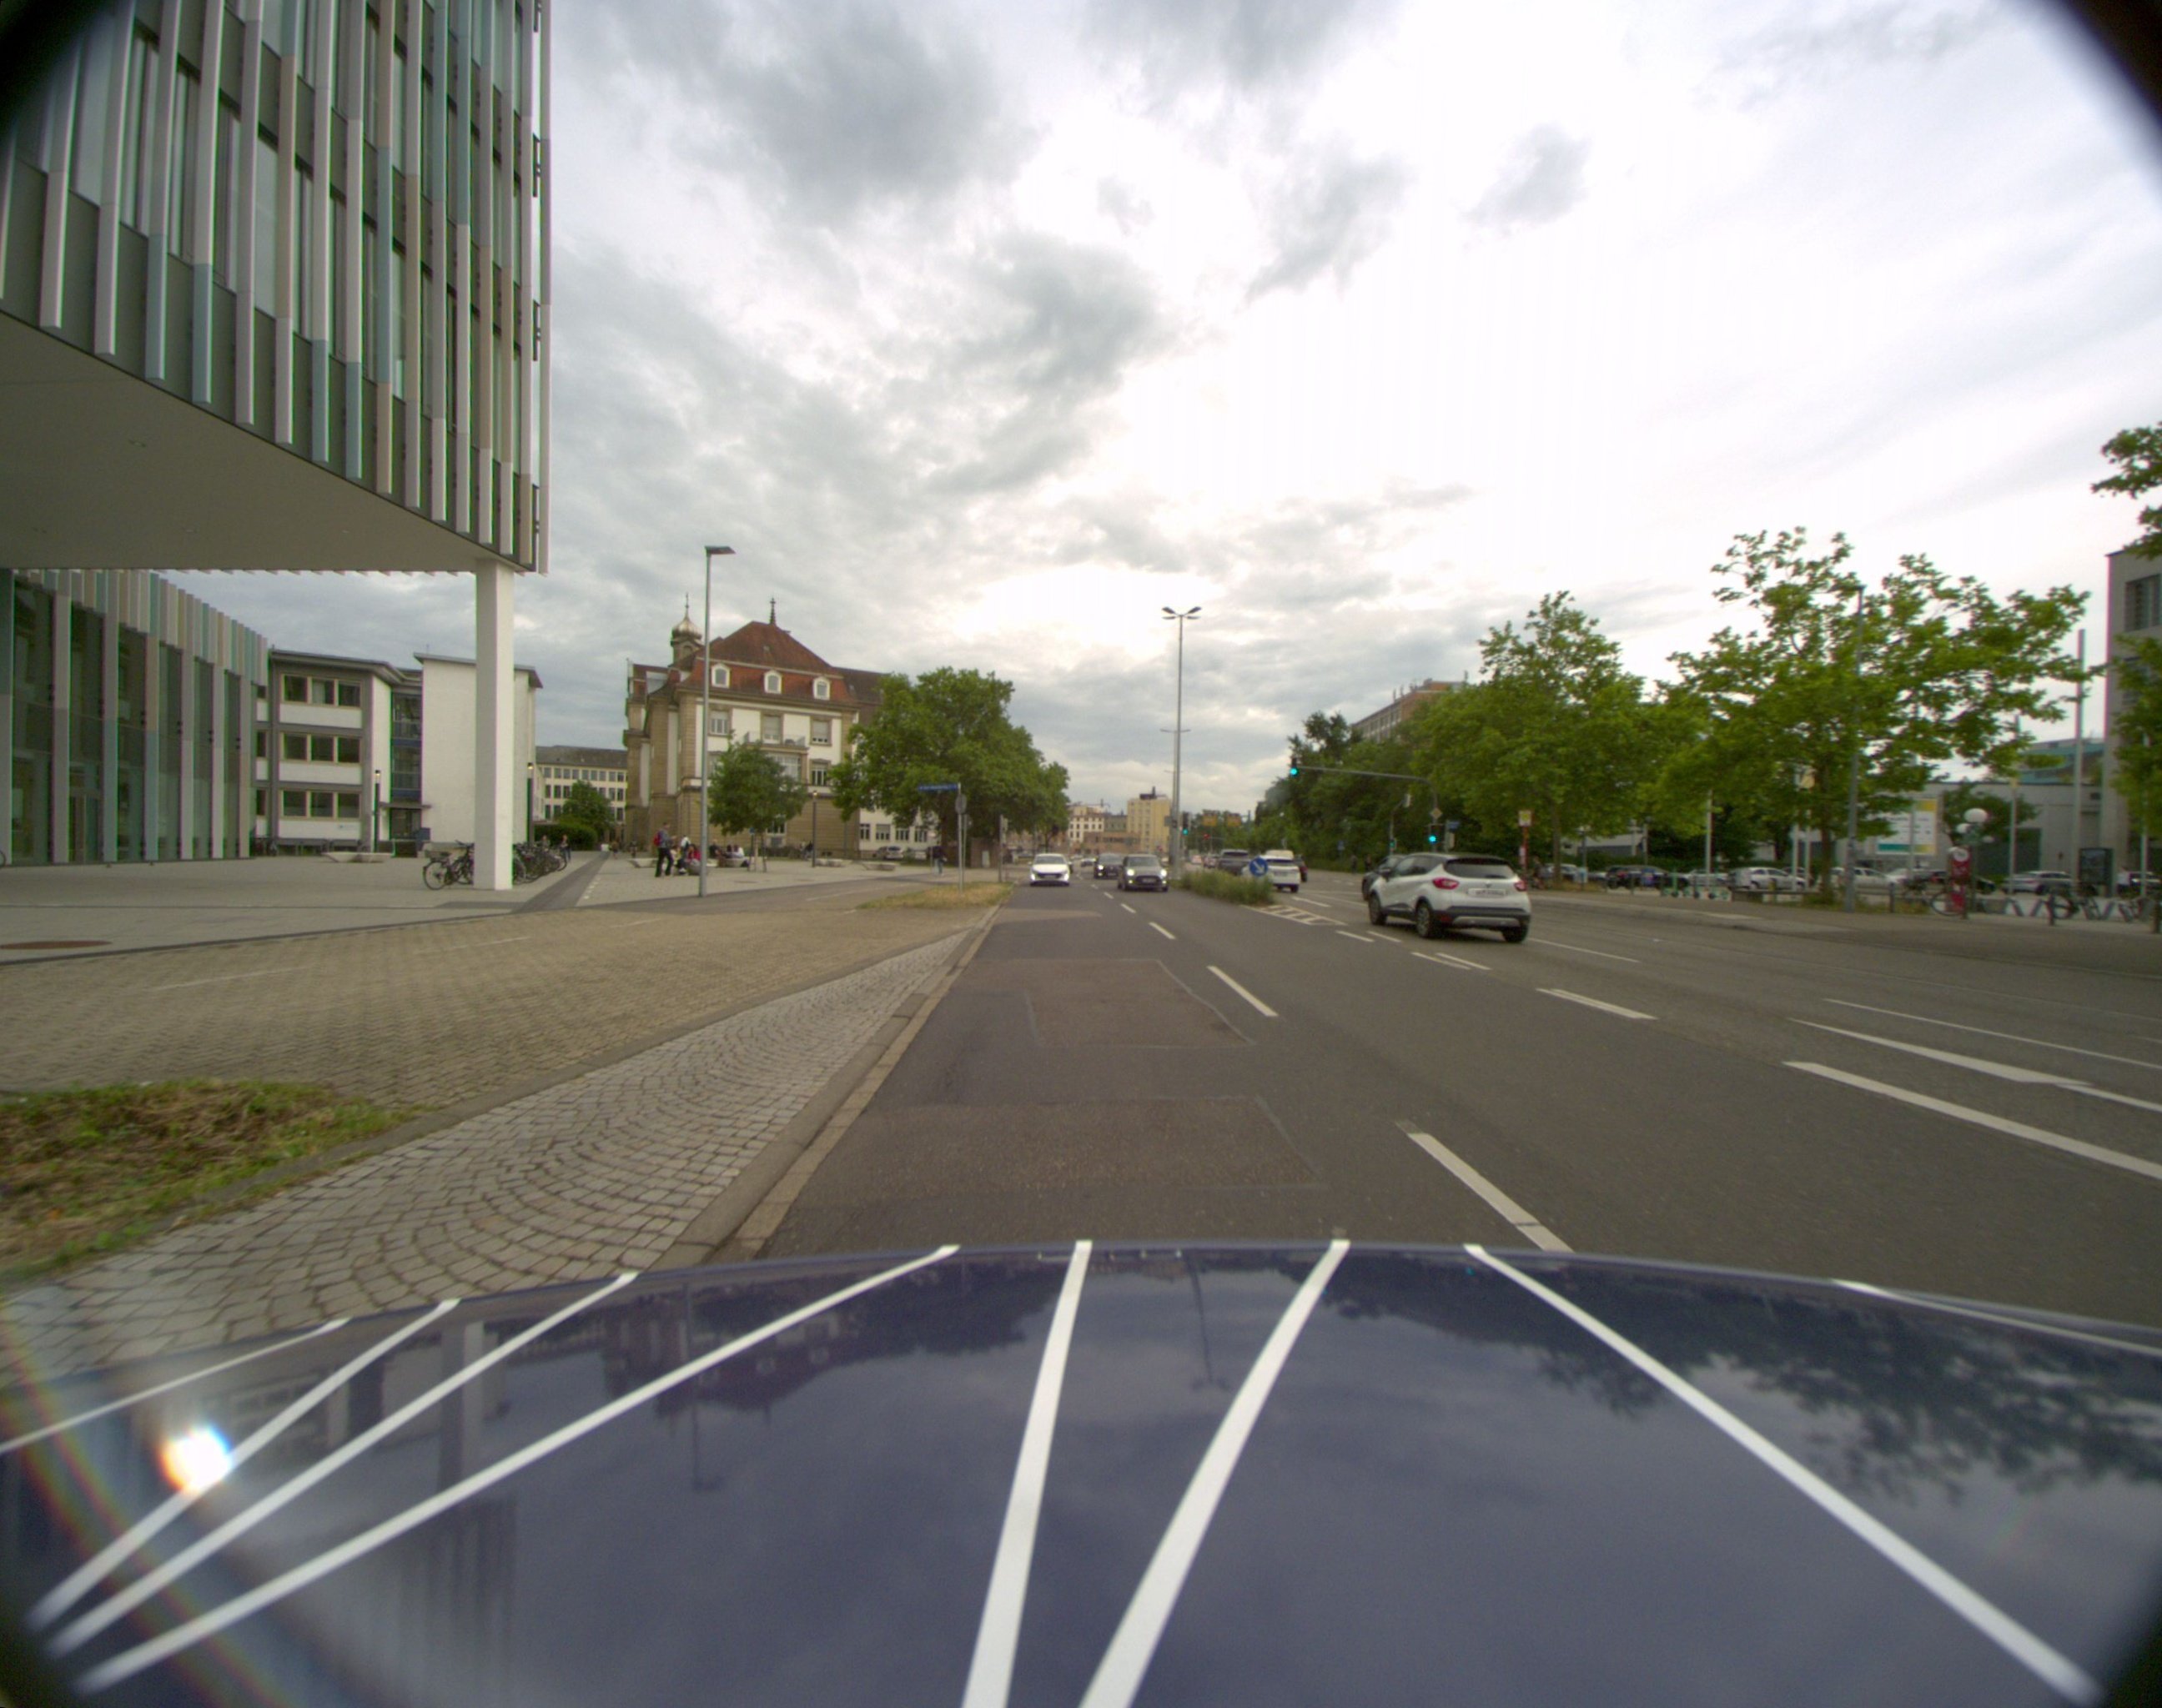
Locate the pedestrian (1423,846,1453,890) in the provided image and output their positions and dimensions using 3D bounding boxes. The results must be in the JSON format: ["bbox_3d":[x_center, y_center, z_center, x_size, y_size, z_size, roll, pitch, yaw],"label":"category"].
[{"bbox_3d":[16.931,0.650,36.092,0.896,2.002,1.009,1,1,1],"label":"pedestrian"}]

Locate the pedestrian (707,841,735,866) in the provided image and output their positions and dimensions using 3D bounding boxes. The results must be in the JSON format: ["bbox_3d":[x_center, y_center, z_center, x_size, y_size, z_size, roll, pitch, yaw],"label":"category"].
[{"bbox_3d":[-18.254,-0.046,38.550,0.911,1.250,0.879,-1,1,6],"label":"pedestrian"}]

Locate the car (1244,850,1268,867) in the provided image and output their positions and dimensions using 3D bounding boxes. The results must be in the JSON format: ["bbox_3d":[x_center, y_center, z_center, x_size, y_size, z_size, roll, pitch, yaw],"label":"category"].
[{"bbox_3d":[17.098,0.406,74.574,1.997,1.610,4.003,1,1,9],"label":"car"}]

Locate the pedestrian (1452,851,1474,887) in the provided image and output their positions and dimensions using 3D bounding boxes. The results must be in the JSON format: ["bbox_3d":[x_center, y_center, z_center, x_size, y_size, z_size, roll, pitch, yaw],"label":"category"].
[{"bbox_3d":[21.824,0.853,43.384,0.669,2.046,0.852,2,0,-13],"label":"pedestrian"}]

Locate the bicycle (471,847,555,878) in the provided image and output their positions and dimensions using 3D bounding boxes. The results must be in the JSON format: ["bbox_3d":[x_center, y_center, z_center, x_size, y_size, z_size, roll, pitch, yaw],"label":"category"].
[{"bbox_3d":[-19.329,0.293,25.919,2.195,1.000,0.780,1,1,-27],"label":"bicycle"}]

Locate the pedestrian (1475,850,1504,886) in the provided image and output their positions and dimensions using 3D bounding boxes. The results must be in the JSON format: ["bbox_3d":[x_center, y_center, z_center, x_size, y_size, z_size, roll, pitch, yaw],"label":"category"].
[{"bbox_3d":[21.266,0.713,39.542,0.897,1.793,0.935,2,1,-1],"label":"pedestrian"}]

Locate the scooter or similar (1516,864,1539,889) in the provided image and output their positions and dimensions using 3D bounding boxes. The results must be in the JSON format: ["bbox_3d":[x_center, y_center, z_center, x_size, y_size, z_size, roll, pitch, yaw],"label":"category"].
[{"bbox_3d":[21.342,1.064,36.338,0.361,1.133,1.320,2,1,3],"label":"scooter or similar"}]

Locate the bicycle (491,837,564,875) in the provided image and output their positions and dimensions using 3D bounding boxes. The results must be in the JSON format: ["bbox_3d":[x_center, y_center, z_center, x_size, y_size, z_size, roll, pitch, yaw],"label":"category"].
[{"bbox_3d":[-20.189,0.094,27.741,2.010,1.298,0.644,3,-1,-19],"label":"bicycle"}]

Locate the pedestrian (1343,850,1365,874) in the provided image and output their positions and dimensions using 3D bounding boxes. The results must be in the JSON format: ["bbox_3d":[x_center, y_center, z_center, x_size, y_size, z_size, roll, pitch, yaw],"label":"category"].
[{"bbox_3d":[23.365,0.667,65.047,1.185,2.002,1.350,-1,1,-17],"label":"pedestrian"}]

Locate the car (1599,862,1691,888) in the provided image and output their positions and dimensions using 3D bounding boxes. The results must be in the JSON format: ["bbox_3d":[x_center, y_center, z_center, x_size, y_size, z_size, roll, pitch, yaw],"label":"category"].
[{"bbox_3d":[33.456,1.217,45.178,3.997,1.463,2.000,-1,1,-1],"label":"car"}]

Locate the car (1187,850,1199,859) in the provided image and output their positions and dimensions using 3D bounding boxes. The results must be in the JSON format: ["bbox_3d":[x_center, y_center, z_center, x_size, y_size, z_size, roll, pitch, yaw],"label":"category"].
[{"bbox_3d":[20.953,0.072,142.151,1.892,1.763,4.001,-1,1,6],"label":"car"}]

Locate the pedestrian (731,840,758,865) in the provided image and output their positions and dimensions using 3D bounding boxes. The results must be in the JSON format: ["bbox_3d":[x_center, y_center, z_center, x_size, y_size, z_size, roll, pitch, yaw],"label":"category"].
[{"bbox_3d":[-17.090,-0.059,38.616,0.911,1.250,0.879,-1,1,6],"label":"pedestrian"}]

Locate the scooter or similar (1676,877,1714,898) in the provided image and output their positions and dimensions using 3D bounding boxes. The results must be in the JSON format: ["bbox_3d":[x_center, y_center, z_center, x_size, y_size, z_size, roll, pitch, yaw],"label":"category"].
[{"bbox_3d":[21.909,1.186,27.130,0.407,0.689,1.289,-1,0,5],"label":"scooter or similar"}]

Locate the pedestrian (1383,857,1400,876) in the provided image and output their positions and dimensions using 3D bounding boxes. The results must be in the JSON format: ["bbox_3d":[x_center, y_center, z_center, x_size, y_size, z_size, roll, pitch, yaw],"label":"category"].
[{"bbox_3d":[23.898,0.978,58.476,0.701,1.420,0.998,-1,1,-25],"label":"pedestrian"}]

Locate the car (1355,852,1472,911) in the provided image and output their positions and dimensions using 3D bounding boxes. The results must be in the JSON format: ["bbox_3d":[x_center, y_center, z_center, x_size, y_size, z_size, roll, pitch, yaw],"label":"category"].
[{"bbox_3d":[10.790,0.810,25.038,1.998,1.684,4.468,2,1,3],"label":"car"}]

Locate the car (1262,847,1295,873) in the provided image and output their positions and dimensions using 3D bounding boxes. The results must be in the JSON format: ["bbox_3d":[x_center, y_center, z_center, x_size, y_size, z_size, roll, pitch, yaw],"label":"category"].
[{"bbox_3d":[14.298,0.409,55.218,1.775,1.837,4.491,-1,0,7],"label":"car"}]

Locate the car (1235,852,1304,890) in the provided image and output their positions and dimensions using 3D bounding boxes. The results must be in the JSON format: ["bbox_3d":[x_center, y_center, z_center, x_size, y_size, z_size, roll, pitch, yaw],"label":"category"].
[{"bbox_3d":[7.910,0.651,32.268,1.908,1.457,4.911,-1,0,3],"label":"car"}]

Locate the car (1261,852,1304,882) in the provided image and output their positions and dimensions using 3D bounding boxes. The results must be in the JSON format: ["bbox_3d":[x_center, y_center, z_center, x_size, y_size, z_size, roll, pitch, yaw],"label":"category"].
[{"bbox_3d":[12.374,0.748,46.833,1.702,1.680,4.000,2,1,3],"label":"car"}]

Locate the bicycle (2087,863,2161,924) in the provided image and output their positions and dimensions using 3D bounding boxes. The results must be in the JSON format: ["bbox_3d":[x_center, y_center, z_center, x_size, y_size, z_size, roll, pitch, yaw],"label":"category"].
[{"bbox_3d":[28.227,1.047,20.136,2.199,1.550,0.899,1,1,-8],"label":"bicycle"}]

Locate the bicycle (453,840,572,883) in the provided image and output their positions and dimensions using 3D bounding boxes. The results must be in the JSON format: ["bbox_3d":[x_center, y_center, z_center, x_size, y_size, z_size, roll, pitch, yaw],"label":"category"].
[{"bbox_3d":[-16.417,0.228,22.012,2.726,1.181,0.772,1,1,-39],"label":"bicycle"}]

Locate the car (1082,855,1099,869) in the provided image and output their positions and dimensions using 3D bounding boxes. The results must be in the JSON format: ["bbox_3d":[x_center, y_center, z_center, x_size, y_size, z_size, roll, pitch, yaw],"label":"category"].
[{"bbox_3d":[1.076,0.902,83.334,1.605,1.360,3.579,0,2,5],"label":"car"}]

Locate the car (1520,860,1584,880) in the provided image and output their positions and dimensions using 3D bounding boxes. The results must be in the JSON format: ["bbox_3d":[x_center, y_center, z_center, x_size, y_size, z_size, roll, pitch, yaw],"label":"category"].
[{"bbox_3d":[35.034,1.169,56.609,3.593,1.442,1.863,0,1,2],"label":"car"}]

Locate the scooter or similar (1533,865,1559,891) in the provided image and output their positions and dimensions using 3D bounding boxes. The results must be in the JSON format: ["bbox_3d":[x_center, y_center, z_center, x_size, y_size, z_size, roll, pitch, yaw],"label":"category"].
[{"bbox_3d":[21.240,1.074,34.719,0.361,1.133,1.320,2,1,3],"label":"scooter or similar"}]

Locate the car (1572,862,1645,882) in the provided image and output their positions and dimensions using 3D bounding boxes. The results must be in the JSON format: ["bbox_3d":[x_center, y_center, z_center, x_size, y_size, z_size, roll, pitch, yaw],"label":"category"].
[{"bbox_3d":[38.920,1.321,56.153,3.996,1.383,2.000,-1,1,3],"label":"car"}]

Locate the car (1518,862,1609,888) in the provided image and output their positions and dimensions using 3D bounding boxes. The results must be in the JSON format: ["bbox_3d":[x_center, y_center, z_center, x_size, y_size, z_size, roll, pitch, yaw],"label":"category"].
[{"bbox_3d":[28.639,1.234,45.216,4.152,1.463,2.000,-1,1,-1],"label":"car"}]

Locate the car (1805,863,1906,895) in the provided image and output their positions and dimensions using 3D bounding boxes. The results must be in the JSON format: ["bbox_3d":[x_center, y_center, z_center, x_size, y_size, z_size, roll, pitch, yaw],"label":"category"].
[{"bbox_3d":[45.700,1.458,44.918,3.997,1.674,1.854,1,1,1],"label":"car"}]

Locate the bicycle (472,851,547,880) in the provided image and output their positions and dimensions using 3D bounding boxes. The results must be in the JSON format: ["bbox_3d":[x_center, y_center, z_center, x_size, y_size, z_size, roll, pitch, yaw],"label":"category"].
[{"bbox_3d":[-18.514,0.372,24.632,0.670,0.893,1.850,2,1,44],"label":"bicycle"}]

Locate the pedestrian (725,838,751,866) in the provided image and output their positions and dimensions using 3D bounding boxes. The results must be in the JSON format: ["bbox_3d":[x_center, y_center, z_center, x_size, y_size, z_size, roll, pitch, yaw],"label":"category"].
[{"bbox_3d":[-16.793,-0.090,37.237,0.912,1.359,0.878,-1,1,-7],"label":"pedestrian"}]

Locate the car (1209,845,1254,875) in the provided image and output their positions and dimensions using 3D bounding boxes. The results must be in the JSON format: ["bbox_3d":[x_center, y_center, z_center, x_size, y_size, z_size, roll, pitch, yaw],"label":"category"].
[{"bbox_3d":[8.868,0.325,45.197,1.998,1.677,4.949,0,0,4],"label":"car"}]

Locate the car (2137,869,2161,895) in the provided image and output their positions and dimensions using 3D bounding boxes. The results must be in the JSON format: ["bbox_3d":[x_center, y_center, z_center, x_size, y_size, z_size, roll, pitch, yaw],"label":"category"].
[{"bbox_3d":[64.761,1.690,44.215,3.679,1.448,1.959,2,1,3],"label":"car"}]

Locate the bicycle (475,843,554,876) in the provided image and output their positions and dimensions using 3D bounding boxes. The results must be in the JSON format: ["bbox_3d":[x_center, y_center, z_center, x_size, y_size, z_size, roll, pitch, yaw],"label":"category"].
[{"bbox_3d":[-17.886,0.174,24.024,1.964,0.996,0.772,1,1,-39],"label":"bicycle"}]

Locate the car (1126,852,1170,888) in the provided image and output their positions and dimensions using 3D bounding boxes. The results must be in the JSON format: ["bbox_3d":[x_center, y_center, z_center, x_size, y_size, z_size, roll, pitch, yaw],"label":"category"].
[{"bbox_3d":[2.716,0.599,30.300,1.624,1.310,3.707,1,1,6],"label":"car"}]

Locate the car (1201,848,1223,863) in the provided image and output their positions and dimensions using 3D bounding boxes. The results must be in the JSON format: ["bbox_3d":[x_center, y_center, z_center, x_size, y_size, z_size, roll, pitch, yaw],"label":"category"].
[{"bbox_3d":[14.099,0.137,81.847,1.961,1.574,4.258,1,0,5],"label":"car"}]

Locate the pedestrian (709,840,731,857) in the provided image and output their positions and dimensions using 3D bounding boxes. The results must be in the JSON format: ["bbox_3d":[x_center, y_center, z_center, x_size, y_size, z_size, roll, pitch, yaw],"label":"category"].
[{"bbox_3d":[-17.797,-0.275,37.421,0.635,0.819,0.734,2,2,18],"label":"pedestrian"}]

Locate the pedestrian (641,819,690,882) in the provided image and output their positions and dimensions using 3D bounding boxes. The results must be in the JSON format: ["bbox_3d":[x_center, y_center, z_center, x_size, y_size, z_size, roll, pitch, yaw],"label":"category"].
[{"bbox_3d":[-14.064,-0.121,25.720,1.187,2.050,1.132,-1,1,-44],"label":"pedestrian"}]

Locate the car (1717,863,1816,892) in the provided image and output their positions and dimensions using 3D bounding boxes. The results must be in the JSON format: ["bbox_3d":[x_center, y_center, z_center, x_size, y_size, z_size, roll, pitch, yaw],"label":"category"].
[{"bbox_3d":[40.490,1.376,44.955,3.996,1.570,2.000,-1,1,1],"label":"car"}]

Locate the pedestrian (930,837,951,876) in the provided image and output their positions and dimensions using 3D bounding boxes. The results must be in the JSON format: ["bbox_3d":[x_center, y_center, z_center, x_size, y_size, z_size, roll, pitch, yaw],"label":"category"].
[{"bbox_3d":[-7.470,0.128,40.317,0.844,2.002,0.894,1,1,4],"label":"pedestrian"}]

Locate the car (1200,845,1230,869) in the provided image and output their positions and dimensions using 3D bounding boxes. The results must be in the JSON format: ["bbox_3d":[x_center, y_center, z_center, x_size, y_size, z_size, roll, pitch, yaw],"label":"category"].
[{"bbox_3d":[11.701,0.251,66.450,1.998,2.002,4.000,2,1,3],"label":"car"}]

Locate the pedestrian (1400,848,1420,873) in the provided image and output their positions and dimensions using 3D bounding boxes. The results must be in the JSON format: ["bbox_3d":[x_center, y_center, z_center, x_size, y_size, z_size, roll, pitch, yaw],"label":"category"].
[{"bbox_3d":[26.748,0.550,61.809,1.043,2.002,1.098,-1,1,-28],"label":"pedestrian"}]

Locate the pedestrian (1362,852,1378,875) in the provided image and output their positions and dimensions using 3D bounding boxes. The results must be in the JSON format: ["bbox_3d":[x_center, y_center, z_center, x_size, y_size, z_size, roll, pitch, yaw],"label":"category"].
[{"bbox_3d":[22.077,0.741,58.043,0.590,1.685,0.653,14,2,5],"label":"pedestrian"}]

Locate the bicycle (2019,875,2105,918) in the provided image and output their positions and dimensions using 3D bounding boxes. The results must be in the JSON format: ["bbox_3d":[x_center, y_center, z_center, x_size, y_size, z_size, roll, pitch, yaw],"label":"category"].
[{"bbox_3d":[27.568,1.186,21.357,2.037,1.147,0.720,1,1,-15],"label":"bicycle"}]

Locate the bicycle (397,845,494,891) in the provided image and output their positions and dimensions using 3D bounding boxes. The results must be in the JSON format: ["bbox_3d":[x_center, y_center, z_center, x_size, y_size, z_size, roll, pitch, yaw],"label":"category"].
[{"bbox_3d":[-15.351,0.323,18.409,0.640,1.055,1.841,-1,0,7],"label":"bicycle"}]

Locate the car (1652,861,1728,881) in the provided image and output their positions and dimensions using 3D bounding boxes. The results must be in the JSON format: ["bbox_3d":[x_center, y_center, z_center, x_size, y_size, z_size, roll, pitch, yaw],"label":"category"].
[{"bbox_3d":[45.075,1.253,56.290,3.996,1.383,2.000,-1,1,3],"label":"car"}]

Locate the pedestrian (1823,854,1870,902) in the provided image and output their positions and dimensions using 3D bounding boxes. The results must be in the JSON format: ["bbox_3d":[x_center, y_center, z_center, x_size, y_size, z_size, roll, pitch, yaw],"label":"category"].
[{"bbox_3d":[32.808,1.027,32.582,0.796,2.002,1.096,1,1,-14],"label":"pedestrian"}]

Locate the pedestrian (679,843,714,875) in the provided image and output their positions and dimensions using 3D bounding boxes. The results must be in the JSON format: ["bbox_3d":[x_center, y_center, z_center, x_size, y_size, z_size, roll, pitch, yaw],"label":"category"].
[{"bbox_3d":[-14.582,0.188,28.841,0.843,1.199,0.896,2,1,37],"label":"pedestrian"}]

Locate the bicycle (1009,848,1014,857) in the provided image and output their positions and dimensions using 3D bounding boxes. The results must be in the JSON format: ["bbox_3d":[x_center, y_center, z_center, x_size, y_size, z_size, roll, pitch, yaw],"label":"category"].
[{"bbox_3d":[-8.243,-0.153,90.308,0.478,1.070,2.082,1,1,-1],"label":"bicycle"}]

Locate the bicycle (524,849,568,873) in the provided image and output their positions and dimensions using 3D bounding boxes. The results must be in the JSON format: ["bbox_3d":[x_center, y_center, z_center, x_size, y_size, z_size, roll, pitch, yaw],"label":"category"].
[{"bbox_3d":[-21.214,0.277,30.128,1.360,0.893,0.541,1,1,-41],"label":"bicycle"}]

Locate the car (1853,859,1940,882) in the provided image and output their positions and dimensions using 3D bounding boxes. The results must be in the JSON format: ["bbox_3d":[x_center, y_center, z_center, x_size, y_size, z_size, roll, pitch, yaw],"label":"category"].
[{"bbox_3d":[59.489,1.188,55.495,3.995,1.532,2.000,1,1,4],"label":"car"}]

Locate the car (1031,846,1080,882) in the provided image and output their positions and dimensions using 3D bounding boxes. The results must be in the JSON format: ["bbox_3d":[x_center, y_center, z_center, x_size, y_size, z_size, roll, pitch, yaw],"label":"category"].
[{"bbox_3d":[-1.138,0.424,35.274,1.813,1.533,4.001,1,1,4],"label":"car"}]

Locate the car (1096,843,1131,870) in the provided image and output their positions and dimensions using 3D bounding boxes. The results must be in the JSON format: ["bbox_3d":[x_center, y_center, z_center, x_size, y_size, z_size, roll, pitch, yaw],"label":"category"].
[{"bbox_3d":[1.938,0.117,44.645,1.731,1.450,4.002,1,1,6],"label":"car"}]

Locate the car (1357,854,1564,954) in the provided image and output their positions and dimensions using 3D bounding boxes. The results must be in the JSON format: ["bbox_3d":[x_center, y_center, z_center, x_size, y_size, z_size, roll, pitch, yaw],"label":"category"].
[{"bbox_3d":[7.081,0.829,14.746,1.998,1.538,4.180,3,1,3],"label":"car"}]

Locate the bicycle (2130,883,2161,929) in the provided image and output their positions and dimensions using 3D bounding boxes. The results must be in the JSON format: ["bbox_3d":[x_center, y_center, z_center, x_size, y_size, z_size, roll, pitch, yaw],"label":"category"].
[{"bbox_3d":[33.637,1.603,23.101,2.491,1.346,0.721,1,1,-1],"label":"bicycle"}]

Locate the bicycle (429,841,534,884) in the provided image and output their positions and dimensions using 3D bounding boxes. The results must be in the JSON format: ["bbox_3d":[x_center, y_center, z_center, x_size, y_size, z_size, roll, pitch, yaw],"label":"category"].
[{"bbox_3d":[-16.214,0.241,20.599,2.188,1.109,0.734,1,1,-40],"label":"bicycle"}]

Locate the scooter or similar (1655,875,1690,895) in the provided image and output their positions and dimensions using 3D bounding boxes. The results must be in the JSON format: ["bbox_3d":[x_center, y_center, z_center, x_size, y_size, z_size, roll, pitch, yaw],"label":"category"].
[{"bbox_3d":[22.313,1.173,28.687,0.407,0.689,1.289,-1,0,5],"label":"scooter or similar"}]

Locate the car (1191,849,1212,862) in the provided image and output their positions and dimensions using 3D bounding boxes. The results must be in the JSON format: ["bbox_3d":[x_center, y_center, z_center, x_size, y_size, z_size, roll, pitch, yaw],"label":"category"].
[{"bbox_3d":[14.870,0.189,94.283,1.998,1.520,4.274,1,1,2],"label":"car"}]

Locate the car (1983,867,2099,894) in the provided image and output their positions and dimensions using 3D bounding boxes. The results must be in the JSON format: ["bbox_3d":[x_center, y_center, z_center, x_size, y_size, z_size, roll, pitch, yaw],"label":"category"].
[{"bbox_3d":[55.627,1.516,44.101,3.996,1.353,2.008,2,1,3],"label":"car"}]

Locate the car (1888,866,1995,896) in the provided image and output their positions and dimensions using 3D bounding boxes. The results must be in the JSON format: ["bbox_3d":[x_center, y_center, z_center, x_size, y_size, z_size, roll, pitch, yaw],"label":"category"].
[{"bbox_3d":[50.551,1.574,44.685,3.996,1.544,1.889,2,1,3],"label":"car"}]

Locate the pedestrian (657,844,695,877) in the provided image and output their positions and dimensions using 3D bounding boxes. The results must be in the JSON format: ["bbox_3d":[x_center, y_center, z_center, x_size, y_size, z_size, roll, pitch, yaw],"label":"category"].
[{"bbox_3d":[-15.061,0.244,28.266,0.892,1.186,0.846,2,1,17],"label":"pedestrian"}]
